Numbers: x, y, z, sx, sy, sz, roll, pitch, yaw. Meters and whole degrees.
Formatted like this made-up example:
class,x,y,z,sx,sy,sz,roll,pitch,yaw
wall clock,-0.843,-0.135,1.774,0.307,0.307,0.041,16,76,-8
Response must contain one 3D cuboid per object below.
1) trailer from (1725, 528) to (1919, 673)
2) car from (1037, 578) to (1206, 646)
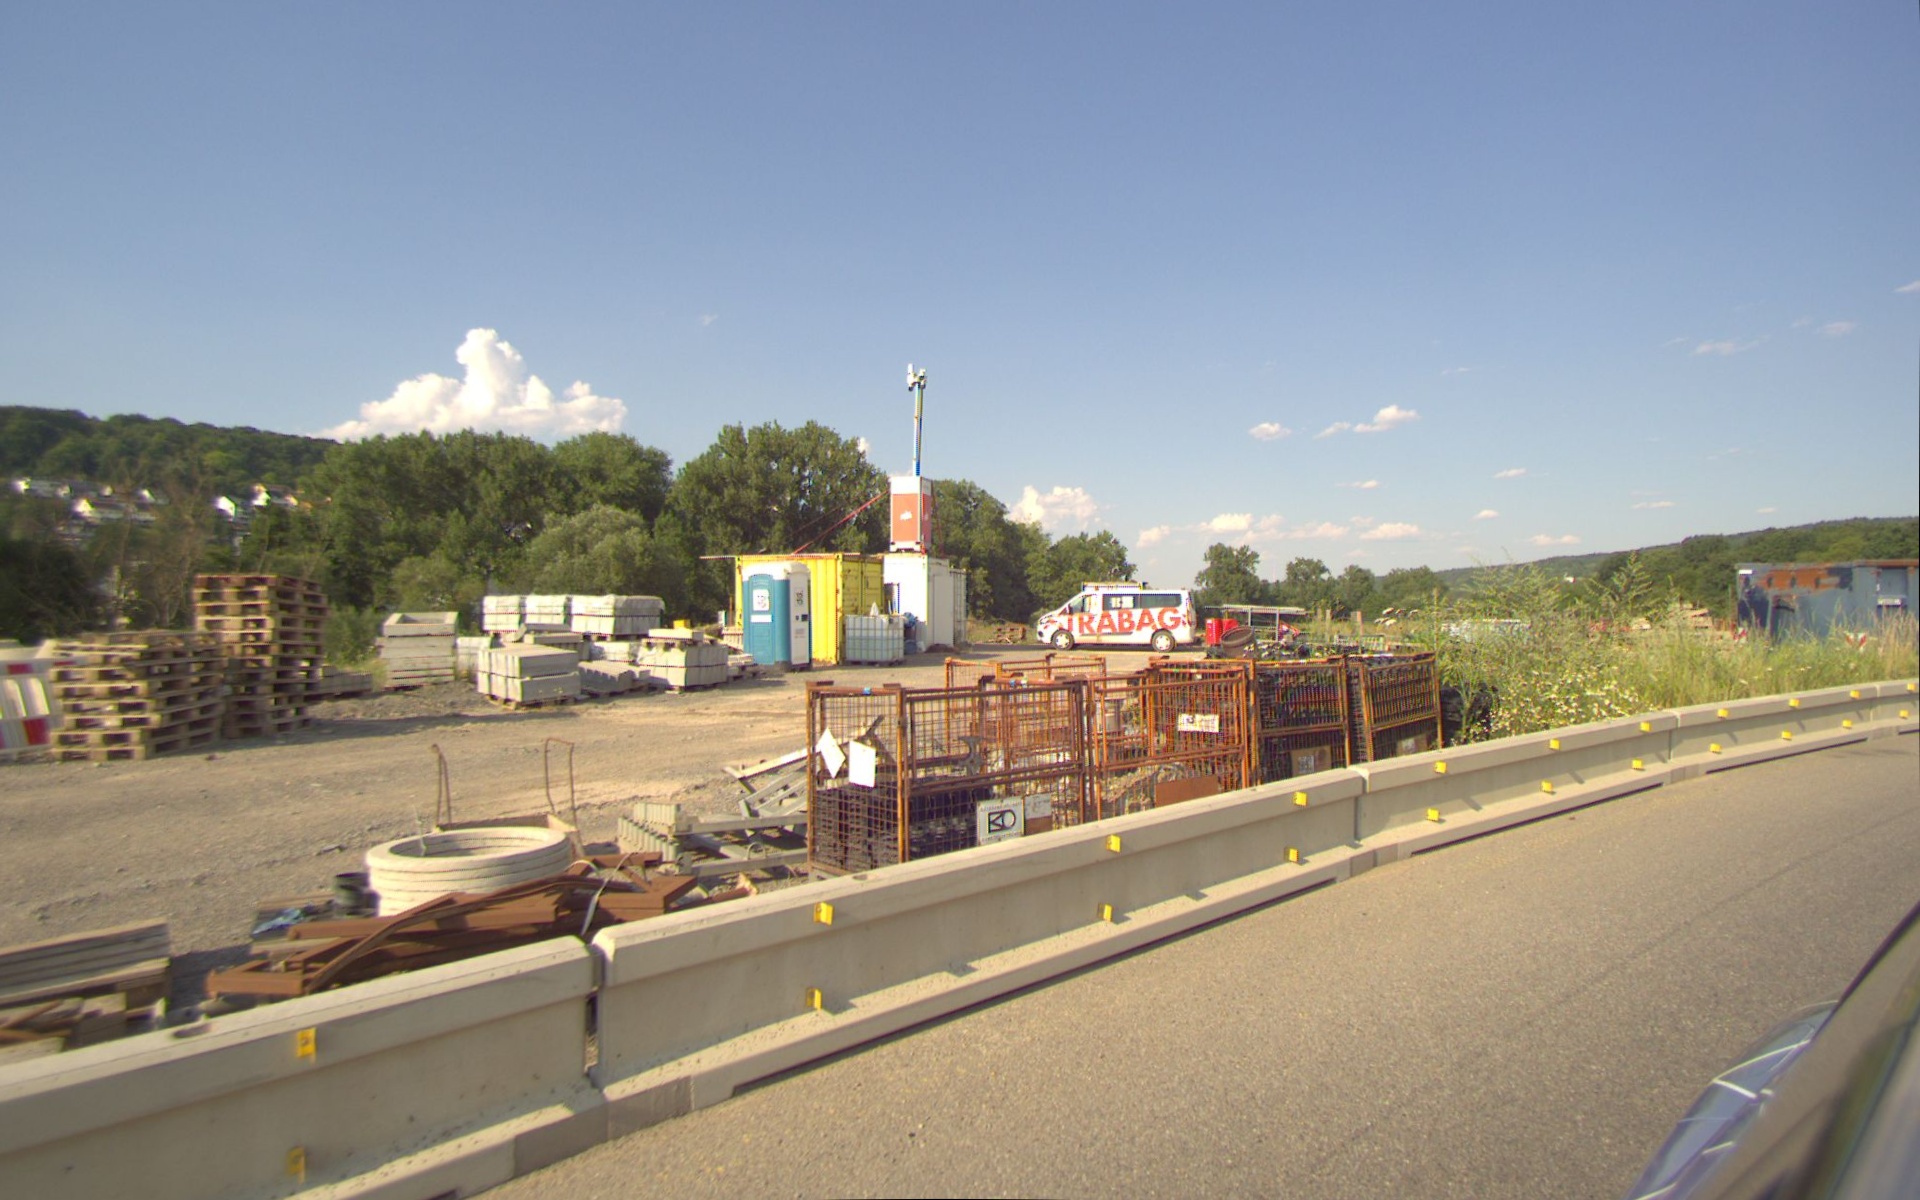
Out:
class,x,y,z,sx,sy,sz,roll,pitch,yaw
trailer,18.870,-0.020,18.813,7.085,2.445,3.015,-1,-1,-4
car,5.367,0.399,33.460,5.246,2.105,2.474,-1,0,17
